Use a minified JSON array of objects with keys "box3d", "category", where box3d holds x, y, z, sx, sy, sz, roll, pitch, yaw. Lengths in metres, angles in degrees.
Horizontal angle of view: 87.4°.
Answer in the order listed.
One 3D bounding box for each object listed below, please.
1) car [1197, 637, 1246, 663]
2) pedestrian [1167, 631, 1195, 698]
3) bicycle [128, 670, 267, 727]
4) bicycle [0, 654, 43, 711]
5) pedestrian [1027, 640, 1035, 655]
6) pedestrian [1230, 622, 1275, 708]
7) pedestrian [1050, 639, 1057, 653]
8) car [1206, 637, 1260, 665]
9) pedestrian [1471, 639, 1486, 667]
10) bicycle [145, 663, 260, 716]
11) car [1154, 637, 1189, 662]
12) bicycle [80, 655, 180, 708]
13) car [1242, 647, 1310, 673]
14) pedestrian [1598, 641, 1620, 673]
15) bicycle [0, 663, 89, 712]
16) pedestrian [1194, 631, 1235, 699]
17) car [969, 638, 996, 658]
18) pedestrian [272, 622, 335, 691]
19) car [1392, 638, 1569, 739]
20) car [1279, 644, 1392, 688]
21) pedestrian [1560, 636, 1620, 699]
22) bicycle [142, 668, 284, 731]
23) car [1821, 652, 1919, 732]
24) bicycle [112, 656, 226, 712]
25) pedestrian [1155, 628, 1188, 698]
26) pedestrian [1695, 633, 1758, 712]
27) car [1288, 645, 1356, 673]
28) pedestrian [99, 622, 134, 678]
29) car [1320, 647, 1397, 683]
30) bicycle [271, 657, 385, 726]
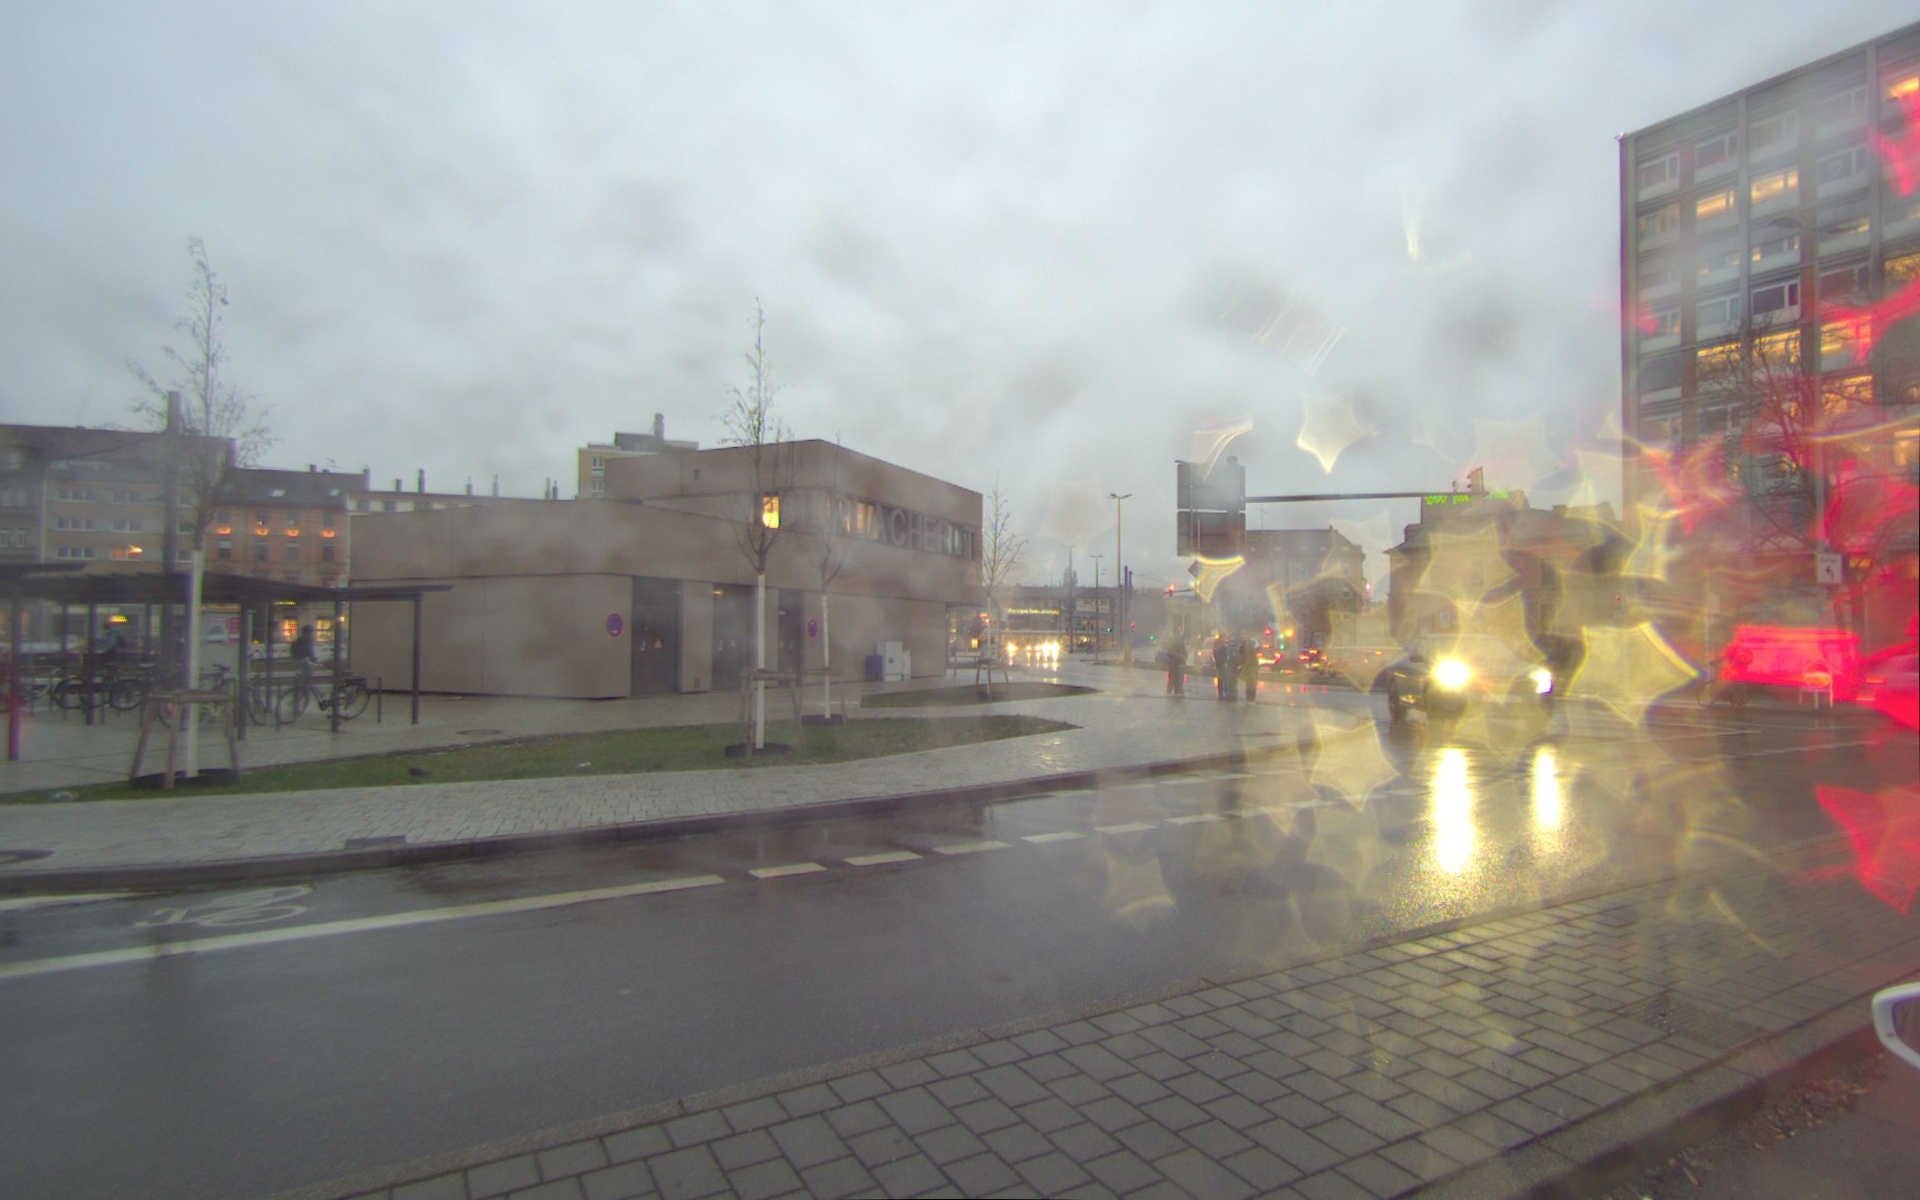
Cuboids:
[{"box3d":[19.401,3.721,74.492,3.321,1.724,1.526,2,0,8],"category":"car"},{"box3d":[6.052,1.761,27.567,0.537,1.793,0.743,0,-2,-4],"category":"pedestrian"},{"box3d":[-13.579,1.737,17.947,0.466,0.903,1.923,1,-2,29],"category":"bicycle"},{"box3d":[-19.386,1.632,19.835,0.466,1.122,1.797,1,-2,29],"category":"bicycle"},{"box3d":[9.680,6.428,136.346,0.960,2.040,0.920,-1,-2,11],"category":"pedestrian"},{"box3d":[7.131,1.577,24.451,0.971,2.047,0.802,-1,-2,19],"category":"pedestrian"},{"box3d":[13.995,6.919,150.704,0.960,2.040,0.920,-1,-2,11],"category":"pedestrian"},{"box3d":[19.630,3.654,72.347,3.514,1.850,1.672,2,0,8],"category":"car"},{"box3d":[32.255,3.278,62.491,0.624,1.710,0.642,-1,-2,11],"category":"pedestrian"},{"box3d":[-15.172,1.778,20.170,0.466,0.968,1.767,1,-2,29],"category":"bicycle"},{"box3d":[15.927,3.712,75.778,1.791,1.589,4.000,2,0,0],"category":"car"},{"box3d":[-17.679,1.710,21.429,0.511,1.050,1.573,1,-2,19],"category":"bicycle"},{"box3d":[20.099,3.806,63.946,3.741,1.502,1.602,2,0,-1],"category":"car"},{"box3d":[33.688,2.952,52.122,0.548,1.649,0.760,0,-2,-15],"category":"pedestrian"},{"box3d":[-18.501,1.733,19.986,0.466,0.903,1.693,1,-2,24],"category":"bicycle"},{"box3d":[6.746,1.712,26.641,0.838,1.778,0.659,0,-2,-14],"category":"pedestrian"},{"box3d":[1.835,4.011,83.529,1.649,1.598,3.420,0,-2,-9],"category":"car"},{"box3d":[-17.636,1.504,26.983,0.993,1.787,1.066,-2,-2,28],"category":"pedestrian"},{"box3d":[9.163,1.497,18.047,1.739,1.598,4.003,-1,-2,11],"category":"car"},{"box3d":[13.695,2.399,36.999,1.779,1.496,4.664,1,-3,-10],"category":"car"},{"box3d":[19.433,2.076,31.008,1.116,1.867,1.005,-3,-2,4],"category":"pedestrian"},{"box3d":[-12.928,1.703,17.455,0.466,0.989,1.923,1,-2,29],"category":"bicycle"},{"box3d":[19.249,1.747,18.686,1.783,1.497,4.654,2,-3,-18],"category":"car"},{"box3d":[-16.522,1.736,21.035,0.466,1.087,1.830,1,-2,26],"category":"bicycle"},{"box3d":[5.682,1.687,27.051,0.663,1.863,0.734,0,-2,-5],"category":"pedestrian"},{"box3d":[20.045,1.883,26.292,0.946,2.004,0.925,0,-2,-24],"category":"pedestrian"},{"box3d":[20.911,3.408,58.071,3.364,1.481,1.515,2,0,-1],"category":"car"},{"box3d":[-26.031,1.546,31.002,0.519,1.688,0.699,-2,-2,34],"category":"pedestrian"},{"box3d":[20.505,3.310,51.811,1.795,1.589,3.991,2,0,-11],"category":"car"},{"box3d":[-11.742,1.675,18.715,0.605,1.172,1.755,1,-2,20],"category":"bicycle"}]
